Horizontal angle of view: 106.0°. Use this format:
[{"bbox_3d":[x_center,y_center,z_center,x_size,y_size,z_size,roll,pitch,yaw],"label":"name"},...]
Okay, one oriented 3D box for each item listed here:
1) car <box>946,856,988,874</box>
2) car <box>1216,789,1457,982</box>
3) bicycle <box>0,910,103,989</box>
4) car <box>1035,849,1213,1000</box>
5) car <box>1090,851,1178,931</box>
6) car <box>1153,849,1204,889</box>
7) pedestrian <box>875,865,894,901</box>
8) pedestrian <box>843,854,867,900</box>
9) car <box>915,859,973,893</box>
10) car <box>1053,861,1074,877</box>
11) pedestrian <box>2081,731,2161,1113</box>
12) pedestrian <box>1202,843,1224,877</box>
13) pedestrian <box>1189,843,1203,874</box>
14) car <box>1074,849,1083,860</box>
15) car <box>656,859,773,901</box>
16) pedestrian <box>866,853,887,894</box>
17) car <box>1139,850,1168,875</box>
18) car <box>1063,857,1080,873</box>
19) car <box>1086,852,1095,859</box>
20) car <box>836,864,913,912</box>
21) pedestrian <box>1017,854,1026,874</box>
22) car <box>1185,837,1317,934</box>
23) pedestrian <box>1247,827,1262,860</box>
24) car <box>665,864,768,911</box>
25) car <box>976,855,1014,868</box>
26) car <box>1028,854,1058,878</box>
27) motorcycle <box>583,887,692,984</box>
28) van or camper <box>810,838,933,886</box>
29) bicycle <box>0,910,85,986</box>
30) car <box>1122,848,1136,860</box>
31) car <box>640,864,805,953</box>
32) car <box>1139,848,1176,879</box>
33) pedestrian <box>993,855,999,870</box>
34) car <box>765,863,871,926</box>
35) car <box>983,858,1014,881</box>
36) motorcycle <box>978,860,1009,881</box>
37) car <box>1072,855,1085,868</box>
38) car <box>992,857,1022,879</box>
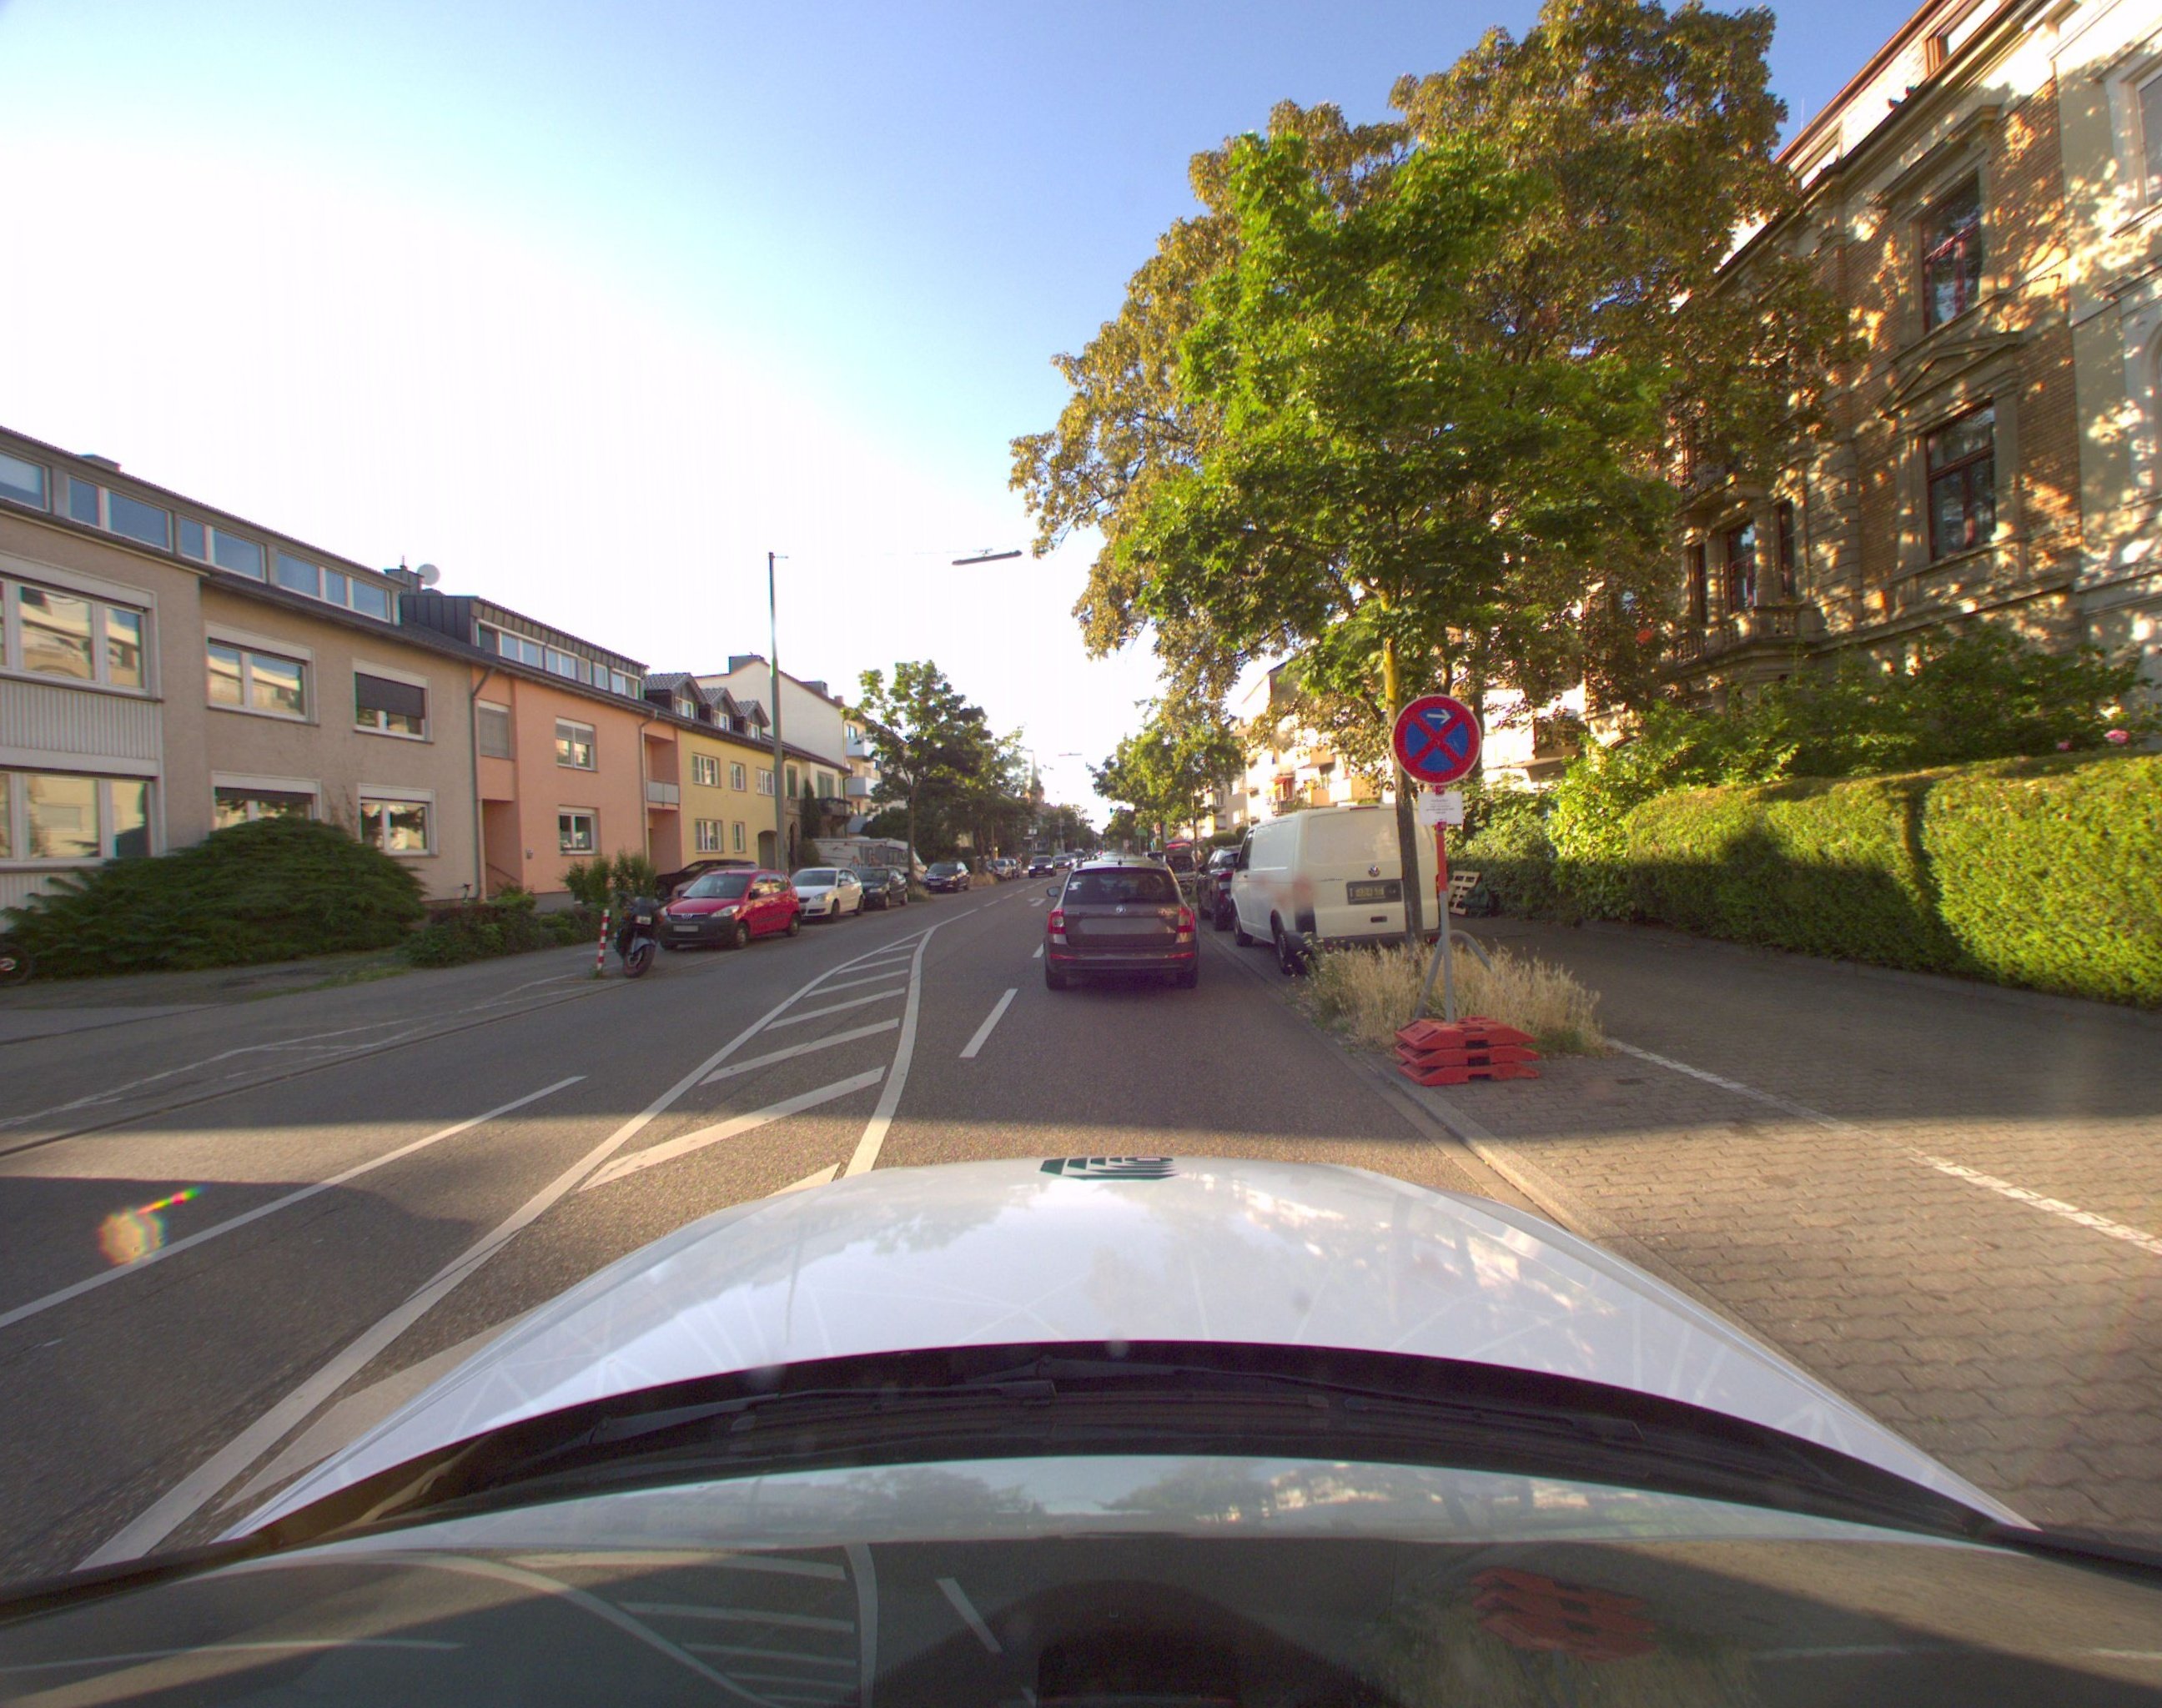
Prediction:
[{"bbox_3d":[-13.566,1.294,96.905,4.617,1.811,1.862,-2,0,1],"label":"car"},{"bbox_3d":[3.268,0.352,11.500,1.897,2.103,4.641,-2,0,0],"label":"car"},{"bbox_3d":[-16.372,1.485,12.604,0.331,1.086,1.711,-3,0,2],"label":"bicycle"},{"bbox_3d":[0.498,0.714,10.409,1.766,1.489,4.312,-1,0,1],"label":"car"},{"bbox_3d":[1.152,0.733,18.083,1.730,1.571,4.003,0,0,3],"label":"car"},{"bbox_3d":[4.157,0.605,35.244,1.702,1.480,4.270,-4,0,2],"label":"car"},{"bbox_3d":[-8.417,1.234,34.946,0.587,1.496,0.543,-3,0,4],"label":"pedestrian"},{"bbox_3d":[-9.065,0.908,32.621,0.710,1.792,0.506,-3,0,4],"label":"pedestrian"},{"bbox_3d":[-6.553,1.037,39.502,1.860,1.494,4.520,-1,0,2],"label":"car"},{"bbox_3d":[-1.797,1.494,82.745,1.754,1.452,4.536,-5,0,2],"label":"car"},{"bbox_3d":[5.416,0.303,3.508,0.818,1.774,1.088,-2,0,-2],"label":"pedestrian"},{"bbox_3d":[6.483,0.295,39.912,0.748,1.640,0.700,-3,0,38],"label":"pedestrian"},{"bbox_3d":[6.586,0.253,46.655,0.660,1.749,0.773,-4,0,2],"label":"pedestrian"},{"bbox_3d":[-0.615,0.106,195.421,1.986,2.478,4.002,-2,0,2],"label":"car"},{"bbox_3d":[-15.071,1.044,33.608,3.971,1.636,1.867,0,0,2],"label":"car"},{"bbox_3d":[-9.012,0.851,35.902,0.710,1.792,0.572,-3,0,4],"label":"pedestrian"},{"bbox_3d":[4.707,0.549,53.312,1.696,1.450,4.018,-4,0,4],"label":"car"},{"bbox_3d":[-1.207,1.349,103.544,1.799,1.804,4.747,-4,0,2],"label":"car"},{"bbox_3d":[2.279,0.291,193.649,1.823,1.579,4.002,-3,0,2],"label":"car"},{"bbox_3d":[-6.922,1.106,27.620,1.537,1.396,3.667,-2,0,2],"label":"car"},{"bbox_3d":[-5.982,0.997,81.952,0.777,1.987,0.821,-3,0,2],"label":"pedestrian"},{"bbox_3d":[3.376,0.570,16.997,1.849,1.603,4.313,-5,0,2],"label":"car"},{"bbox_3d":[8.813,-0.517,41.457,0.475,1.640,0.533,-2,0,-17],"label":"pedestrian"},{"bbox_3d":[-12.629,1.122,28.473,1.657,1.409,3.756,-3,0,3],"label":"car"},{"bbox_3d":[-10.840,0.944,102.835,4.617,1.535,1.862,-1,0,1],"label":"car"},{"bbox_3d":[-2.824,0.873,60.882,1.829,1.570,4.001,-4,-1,2],"label":"car"},{"bbox_3d":[-6.918,1.206,12.865,1.184,1.266,2.352,-3,0,-22],"label":"motorcycle"},{"bbox_3d":[-12.492,0.478,48.884,6.774,2.772,2.352,0,0,0],"label":"van or camper"},{"bbox_3d":[-16.724,1.488,12.649,0.331,1.086,1.711,-3,0,2],"label":"bicycle"},{"bbox_3d":[7.205,0.030,122.708,1.984,1.772,4.005,0,0,5],"label":"car"},{"bbox_3d":[-7.172,1.022,16.686,1.585,1.523,3.441,-2,0,5],"label":"car"},{"bbox_3d":[4.434,0.536,47.689,1.849,1.581,4.015,-4,0,2],"label":"car"},{"bbox_3d":[-10.166,1.055,97.423,0.447,1.797,0.504,-3,0,2],"label":"pedestrian"},{"bbox_3d":[-7.258,1.062,22.855,1.587,1.523,3.891,-2,0,1],"label":"car"},{"bbox_3d":[-5.667,1.047,56.333,1.587,1.470,3.805,0,0,2],"label":"car"},{"bbox_3d":[-5.676,1.065,52.621,2.028,1.265,0.772,-3,0,40],"label":"motorcycle"},{"bbox_3d":[-0.411,1.234,137.993,1.986,1.908,4.966,-4,0,2],"label":"car"},{"bbox_3d":[-5.495,1.017,60.961,1.642,1.517,4.076,-1,0,2],"label":"car"}]
